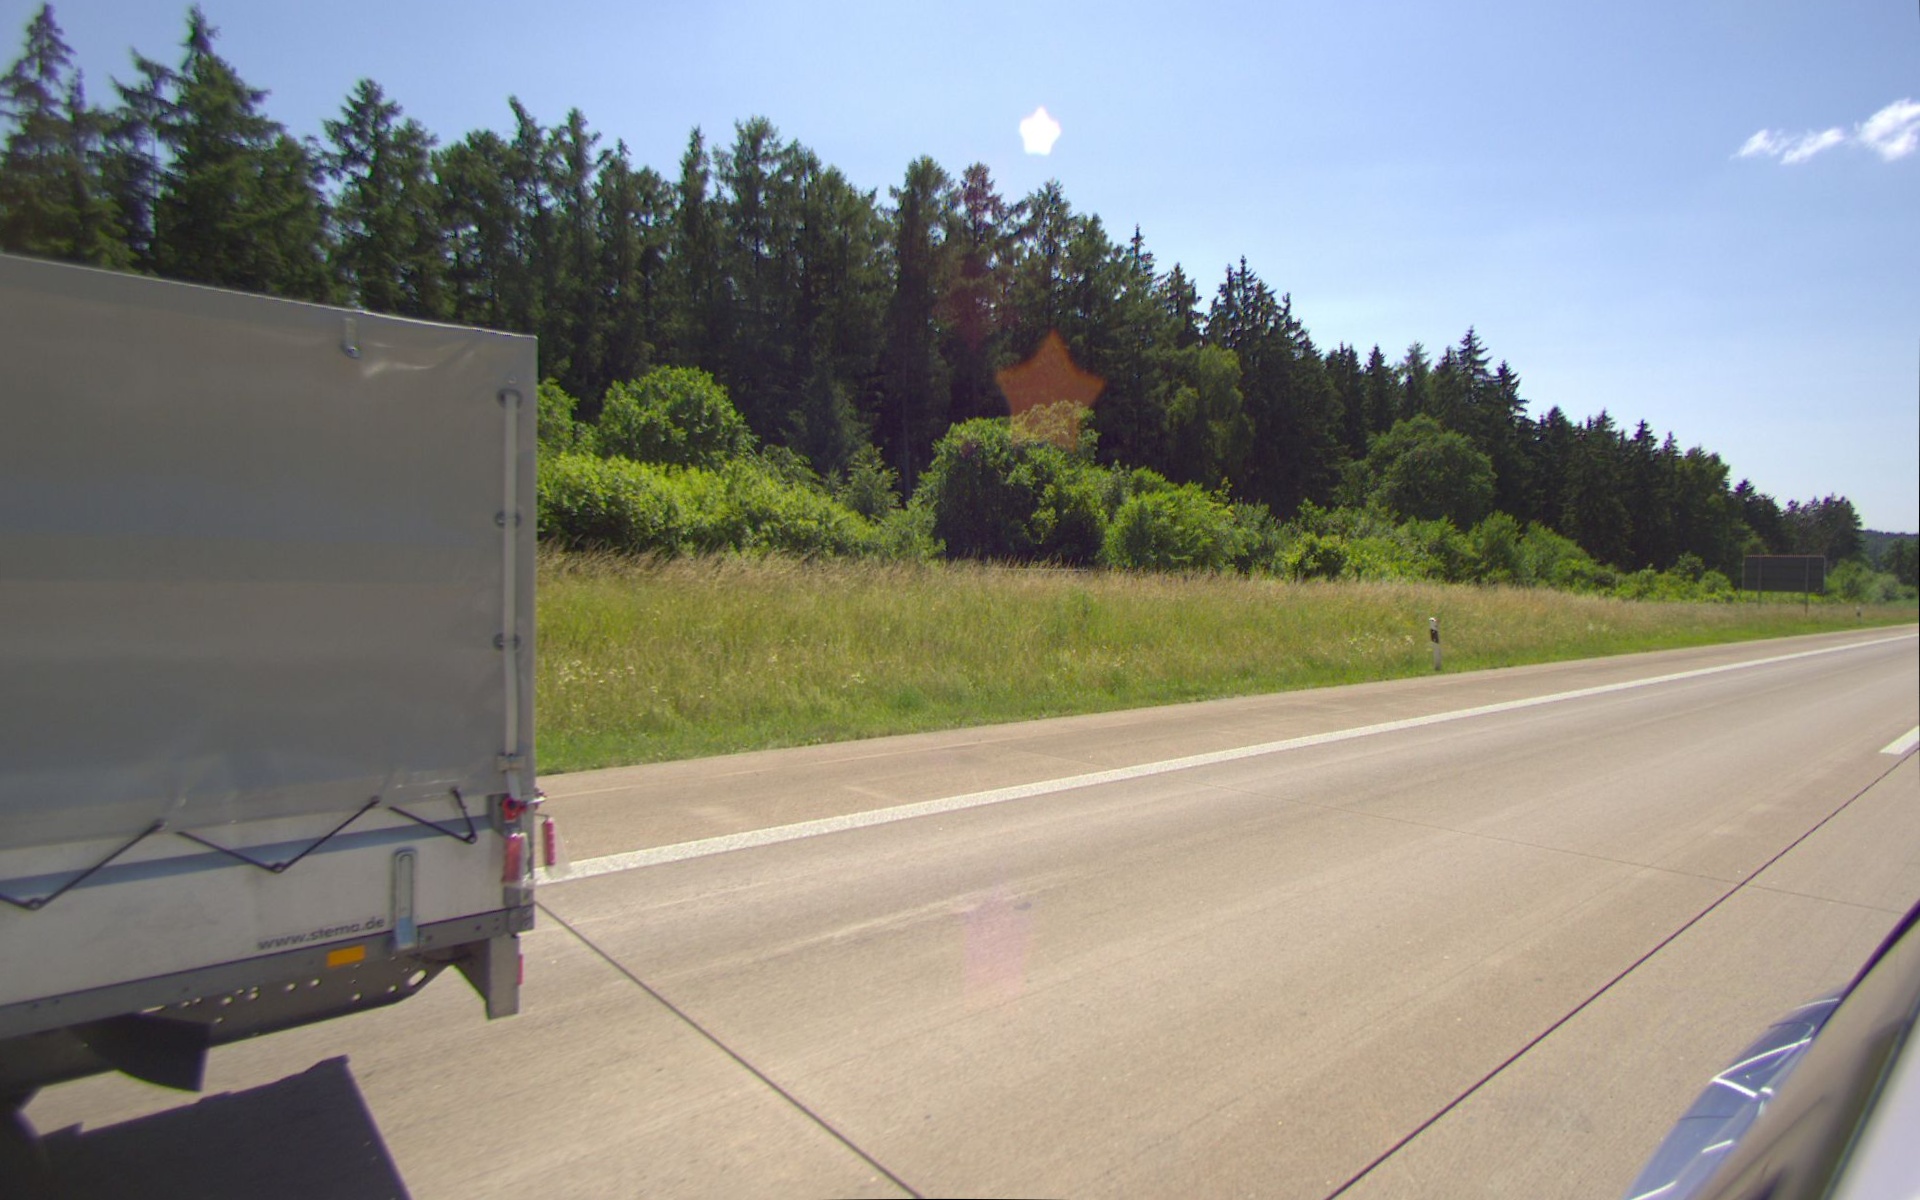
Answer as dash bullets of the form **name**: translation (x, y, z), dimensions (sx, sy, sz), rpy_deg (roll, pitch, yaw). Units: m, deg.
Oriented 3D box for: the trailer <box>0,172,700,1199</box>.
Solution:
- **trailer**: translation (-2.702, 0.348, 1.931), dimensions (3.945, 2.191, 1.661), rpy_deg (0, 0, -40)
